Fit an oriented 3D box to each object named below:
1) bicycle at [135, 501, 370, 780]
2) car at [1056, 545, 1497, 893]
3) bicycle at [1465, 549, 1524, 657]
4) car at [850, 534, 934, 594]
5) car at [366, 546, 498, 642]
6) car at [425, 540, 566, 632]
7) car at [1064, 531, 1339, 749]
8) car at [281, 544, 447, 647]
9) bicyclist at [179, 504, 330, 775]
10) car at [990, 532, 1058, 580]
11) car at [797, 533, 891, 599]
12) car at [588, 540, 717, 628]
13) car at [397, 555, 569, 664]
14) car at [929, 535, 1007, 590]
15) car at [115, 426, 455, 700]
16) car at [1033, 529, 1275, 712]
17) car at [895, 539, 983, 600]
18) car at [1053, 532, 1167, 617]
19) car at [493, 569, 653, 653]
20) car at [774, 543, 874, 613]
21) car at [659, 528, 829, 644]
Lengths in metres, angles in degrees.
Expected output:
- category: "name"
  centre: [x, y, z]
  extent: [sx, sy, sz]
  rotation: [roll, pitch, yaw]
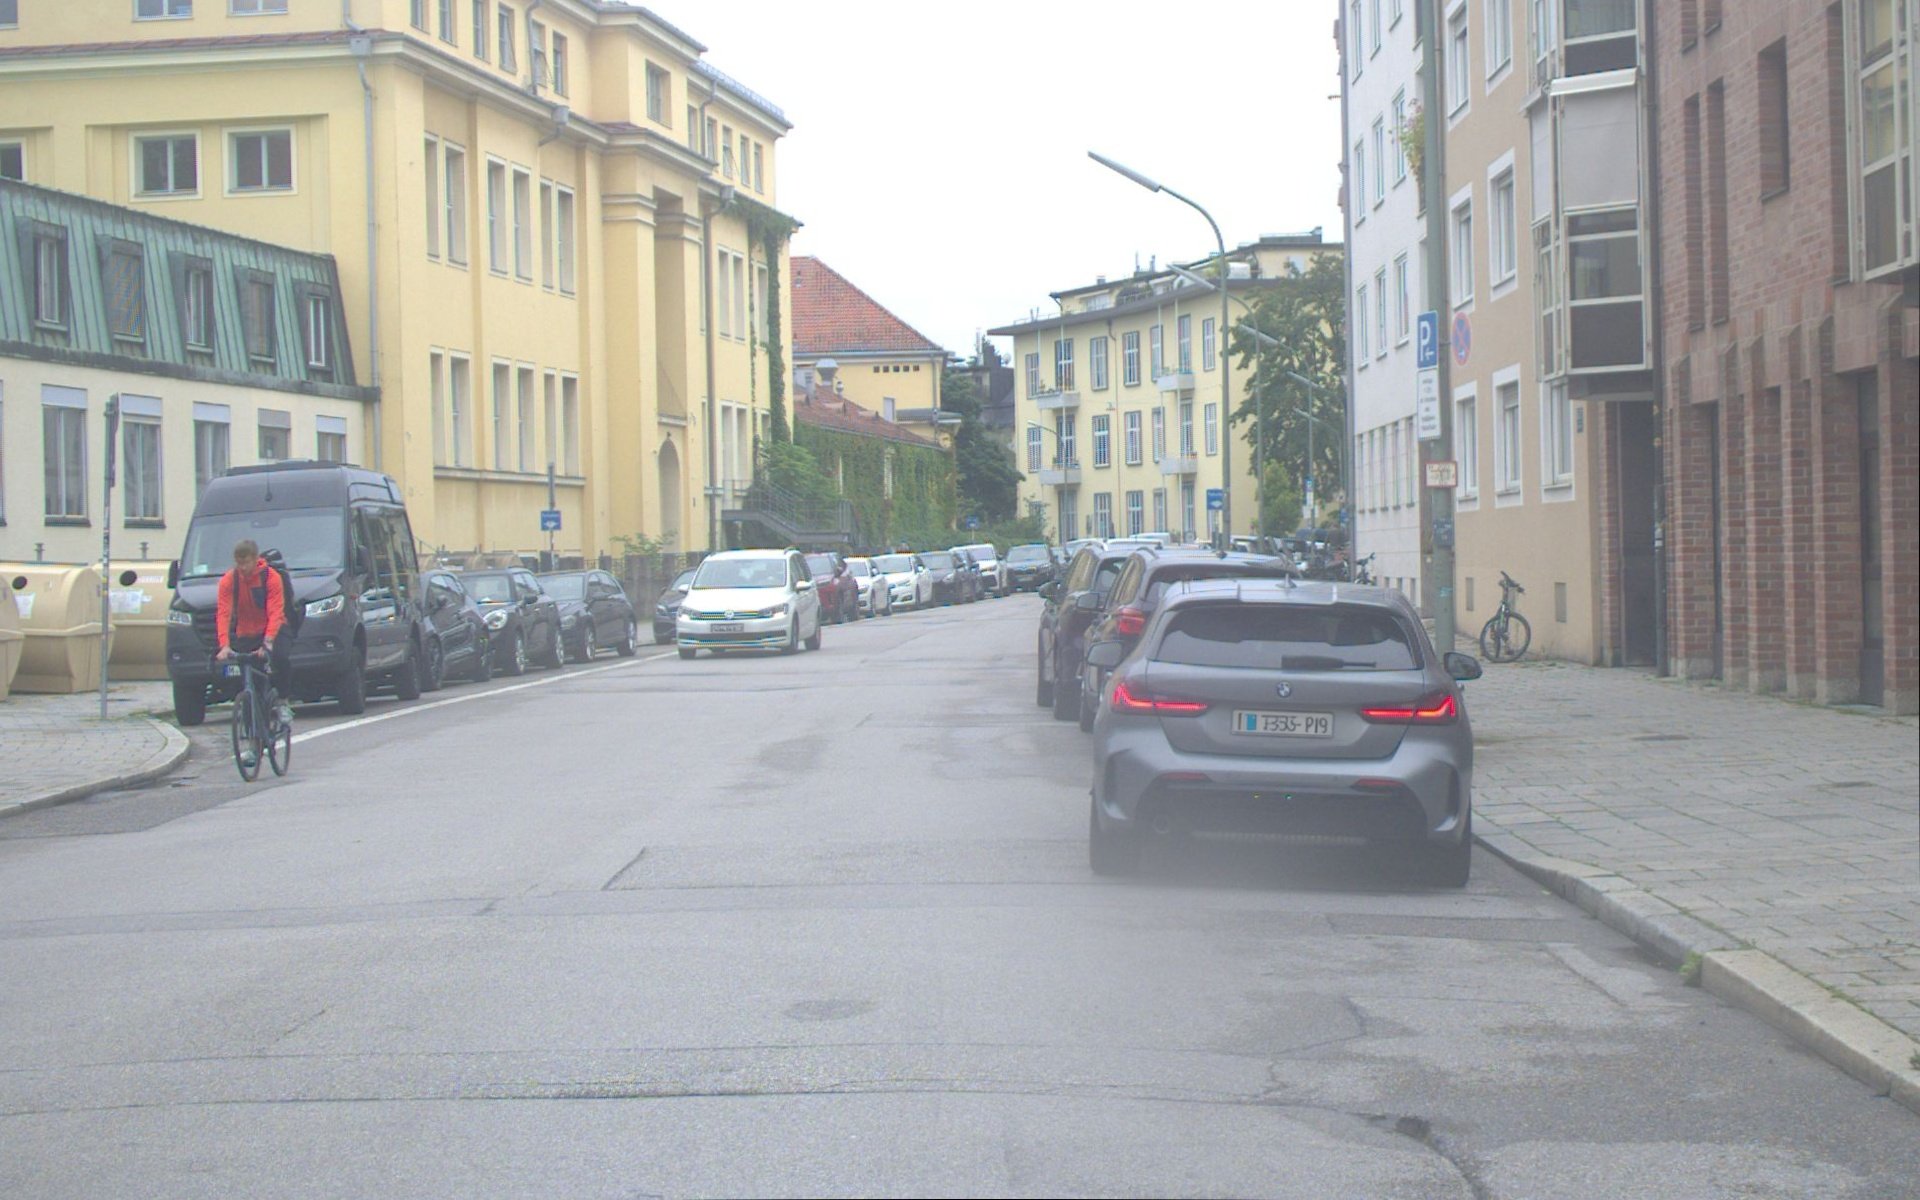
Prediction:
- category: "bicycle"
  centre: [-5.425, 0.260, 26.585]
  extent: [0.748, 2.007, 2.847]
  rotation: [-3, 1, 8]
- category: "car"
  centre: [1.480, 0.499, 17.346]
  extent: [1.925, 1.507, 4.391]
  rotation: [1, 1, 2]
- category: "bicycle"
  centre: [6.734, 0.023, 43.376]
  extent: [0.468, 1.283, 2.674]
  rotation: [0, 2, 3]
- category: "car"
  centre: [-1.707, -0.937, 87.446]
  extent: [1.698, 1.439, 3.508]
  rotation: [1, 2, 6]
- category: "car"
  centre: [-9.550, -0.121, 62.354]
  extent: [1.606, 1.655, 2.808]
  rotation: [1, 2, 8]
- category: "car"
  centre: [-8.915, -0.296, 66.237]
  extent: [1.720, 1.655, 3.747]
  rotation: [1, 2, 8]
- category: "car"
  centre: [1.880, 0.257, 27.970]
  extent: [1.830, 1.596, 4.266]
  rotation: [0, 2, -1]
- category: "car"
  centre: [-10.148, -0.106, 58.750]
  extent: [1.720, 1.655, 3.747]
  rotation: [1, 2, 8]
- category: "bicyclist"
  centre: [-5.432, 0.295, 26.515]
  extent: [0.766, 2.007, 0.767]
  rotation: [-5, 1, 8]
- category: "car"
  centre: [2.169, -1.508, 115.920]
  extent: [1.994, 1.543, 4.000]
  rotation: [1, 2, 5]
- category: "car"
  centre: [-2.672, -0.809, 80.007]
  extent: [1.698, 1.439, 3.508]
  rotation: [1, 2, 6]
- category: "car"
  centre: [-5.751, -0.330, 64.595]
  extent: [1.772, 1.545, 3.778]
  rotation: [1, 2, 5]
- category: "car"
  centre: [-6.846, 0.113, 49.693]
  extent: [1.699, 1.448, 3.741]
  rotation: [1, 2, 4]
- category: "car"
  centre: [0.258, -1.139, 102.591]
  extent: [1.994, 1.543, 4.000]
  rotation: [1, 2, 5]
- category: "car"
  centre: [-7.339, -0.365, 38.135]
  extent: [2.422, 2.706, 5.952]
  rotation: [-2, 0, 1]
- category: "car"
  centre: [1.797, 0.140, 33.238]
  extent: [1.964, 1.596, 4.672]
  rotation: [0, 2, -1]
- category: "car"
  centre: [-0.553, -0.846, 93.051]
  extent: [1.994, 1.543, 4.000]
  rotation: [1, 2, 5]
- category: "car"
  centre: [2.563, -0.436, 59.427]
  extent: [1.887, 1.405, 4.431]
  rotation: [0, 0, 2]
- category: "car"
  centre: [-6.085, 0.155, 54.432]
  extent: [1.529, 1.198, 3.740]
  rotation: [1, 2, 10]
- category: "car"
  centre: [-2.914, -0.498, 74.427]
  extent: [1.698, 1.439, 3.508]
  rotation: [1, 2, 6]
- category: "car"
  centre: [-3.307, -0.185, 53.503]
  extent: [2.026, 1.616, 4.504]
  rotation: [-3, -1, 3]
